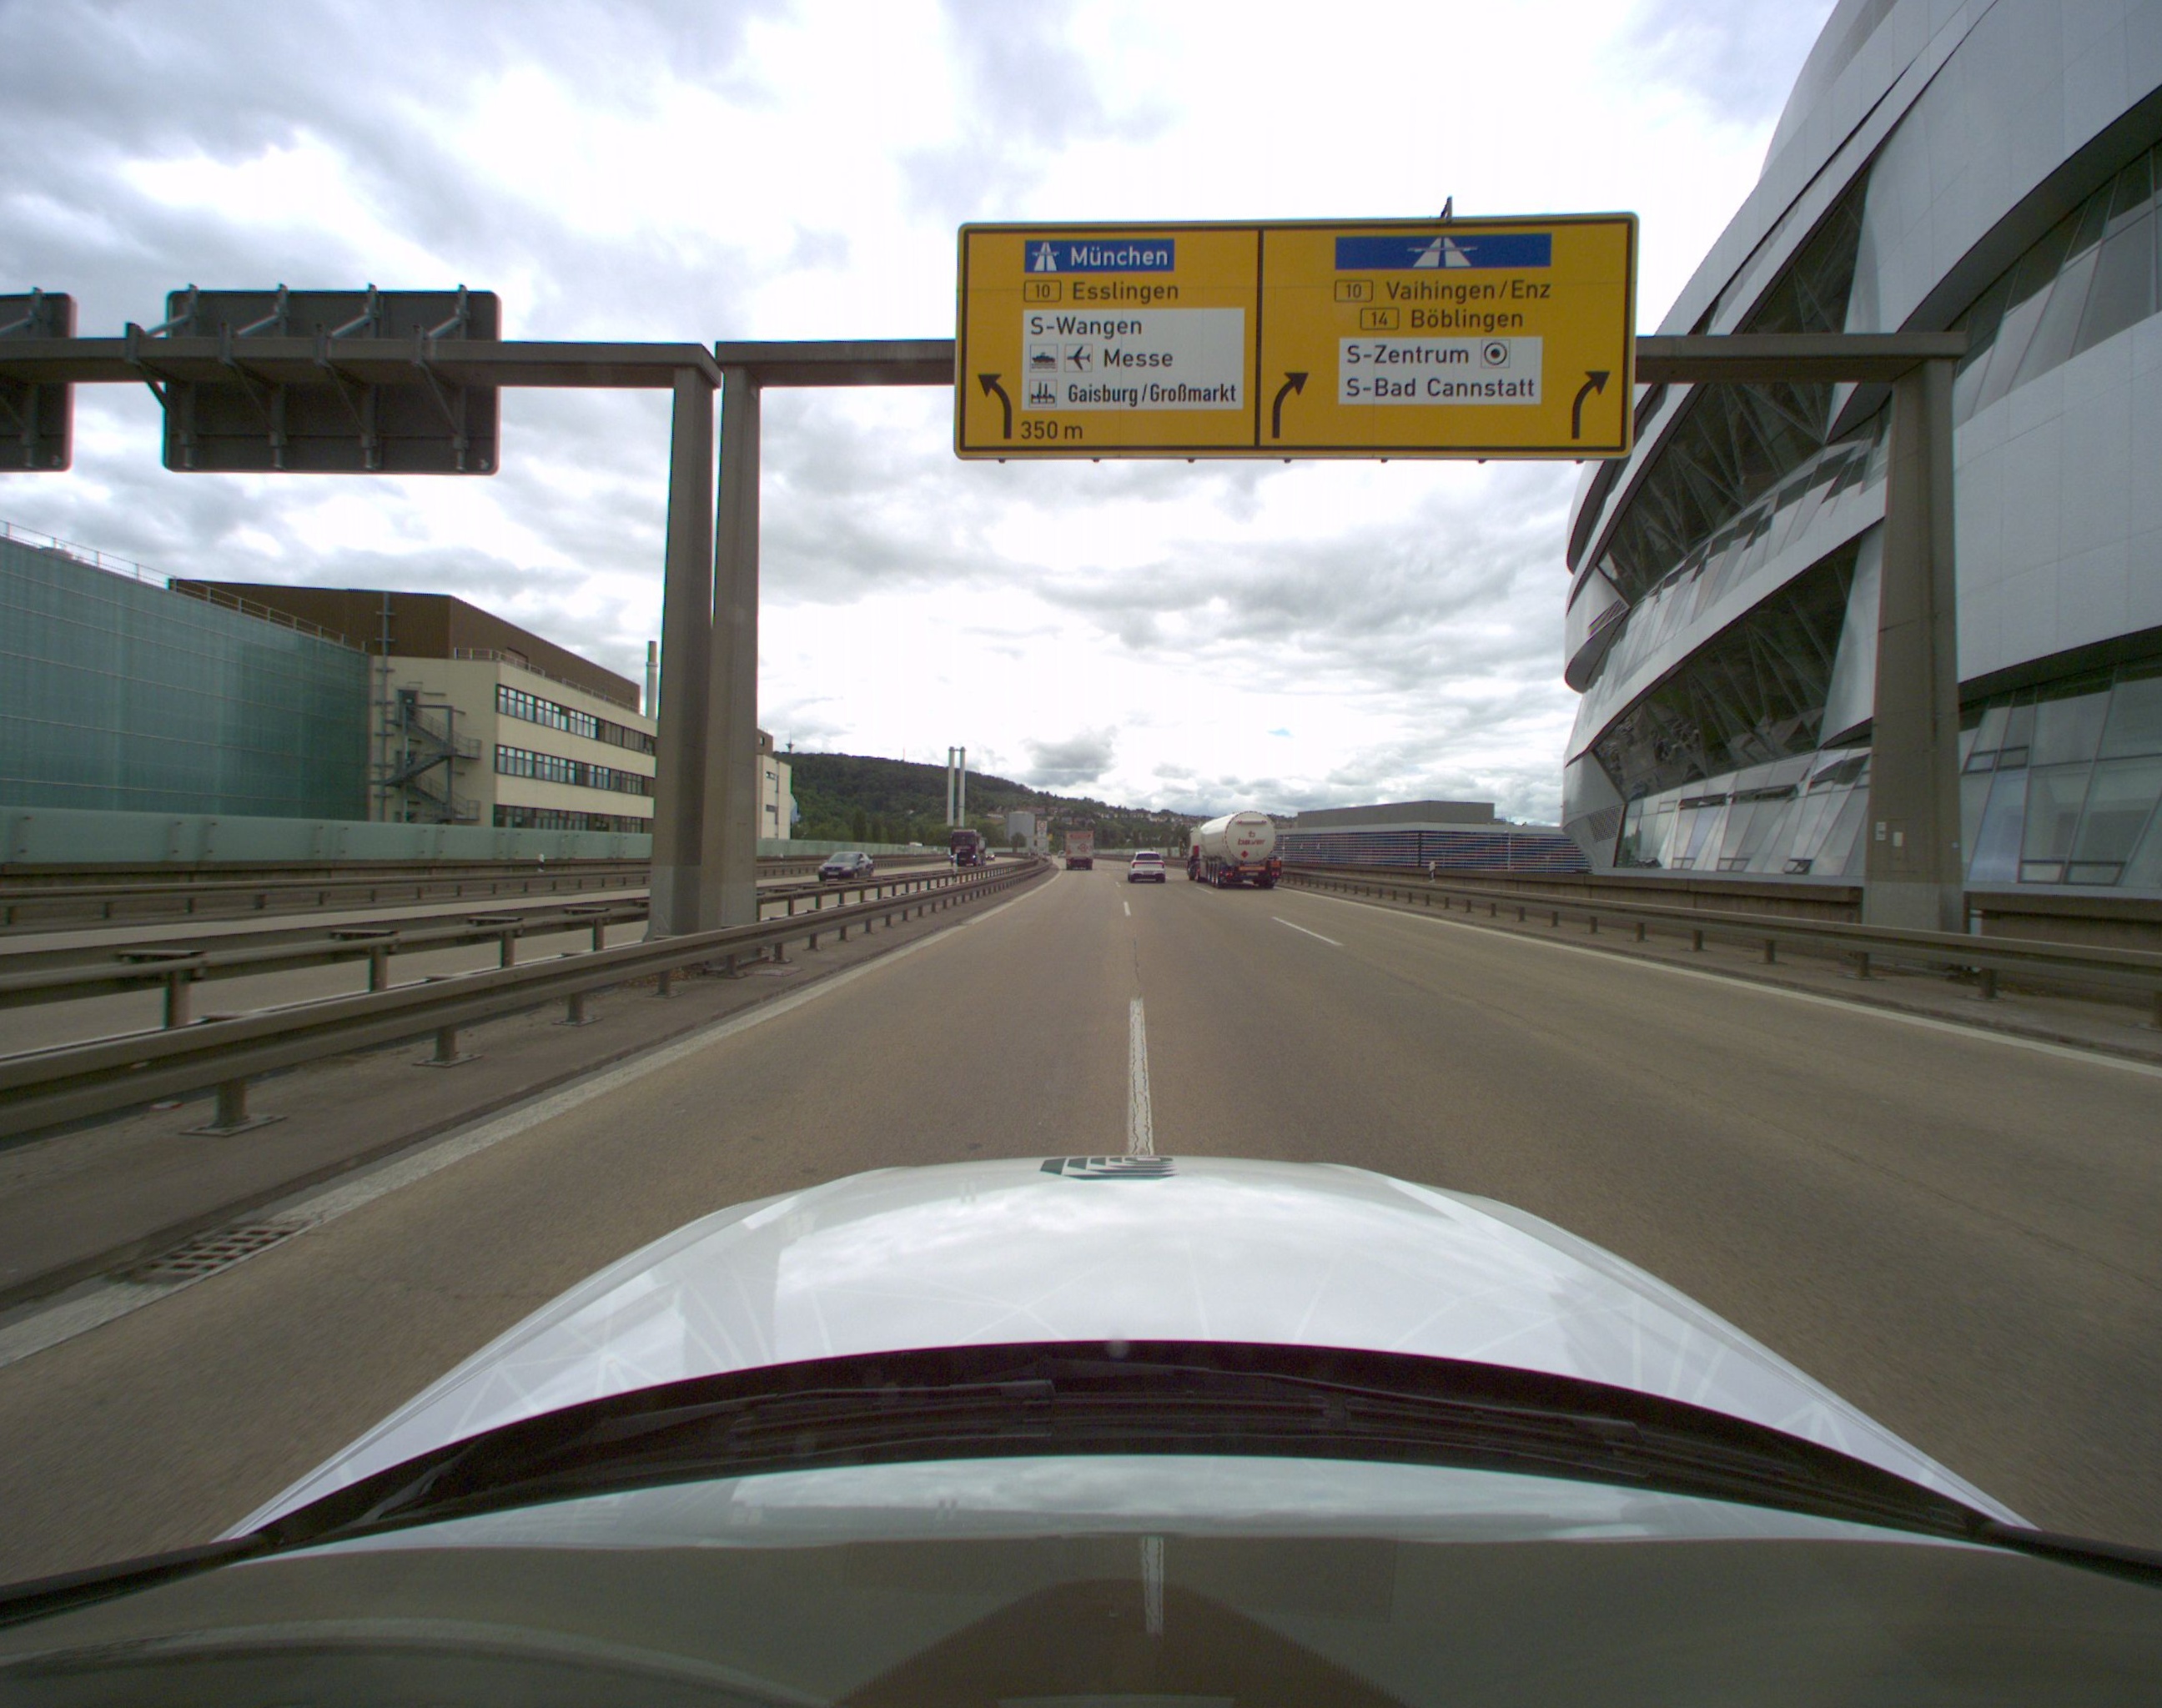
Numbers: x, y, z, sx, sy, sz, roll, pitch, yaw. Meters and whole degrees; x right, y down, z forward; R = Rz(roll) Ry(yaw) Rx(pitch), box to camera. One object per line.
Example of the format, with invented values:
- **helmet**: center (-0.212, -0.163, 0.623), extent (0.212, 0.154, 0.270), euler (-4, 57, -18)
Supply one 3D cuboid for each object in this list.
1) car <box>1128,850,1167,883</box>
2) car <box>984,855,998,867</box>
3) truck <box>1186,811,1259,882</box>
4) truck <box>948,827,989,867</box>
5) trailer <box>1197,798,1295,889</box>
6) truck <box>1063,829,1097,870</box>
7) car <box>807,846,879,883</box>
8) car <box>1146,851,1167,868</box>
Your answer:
- **car**: center (3.582, 0.660, 44.411), extent (1.985, 1.675, 4.411), euler (0, -1, 3)
- **car**: center (-13.488, 1.025, 122.209), extent (1.990, 1.675, 4.401), euler (0, -1, -4)
- **truck**: center (7.627, -0.349, 44.792), extent (3.004, 3.657, 6.274), euler (0, -1, 1)
- **truck**: center (-11.347, -0.626, 83.149), extent (2.803, 3.809, 12.012), euler (0, 0, -1)
- **trailer**: center (7.518, -0.416, 38.274), extent (3.046, 3.790, 8.305), euler (0, 0, 1)
- **truck**: center (-0.057, -0.415, 77.589), extent (3.046, 3.691, 8.304), euler (0, 0, 1)
- **car**: center (-11.254, 0.489, 38.838), extent (1.986, 1.675, 4.409), euler (0, -1, 1)
- **car**: center (7.404, 0.565, 80.531), extent (1.985, 1.675, 4.412), euler (0, -1, 4)
